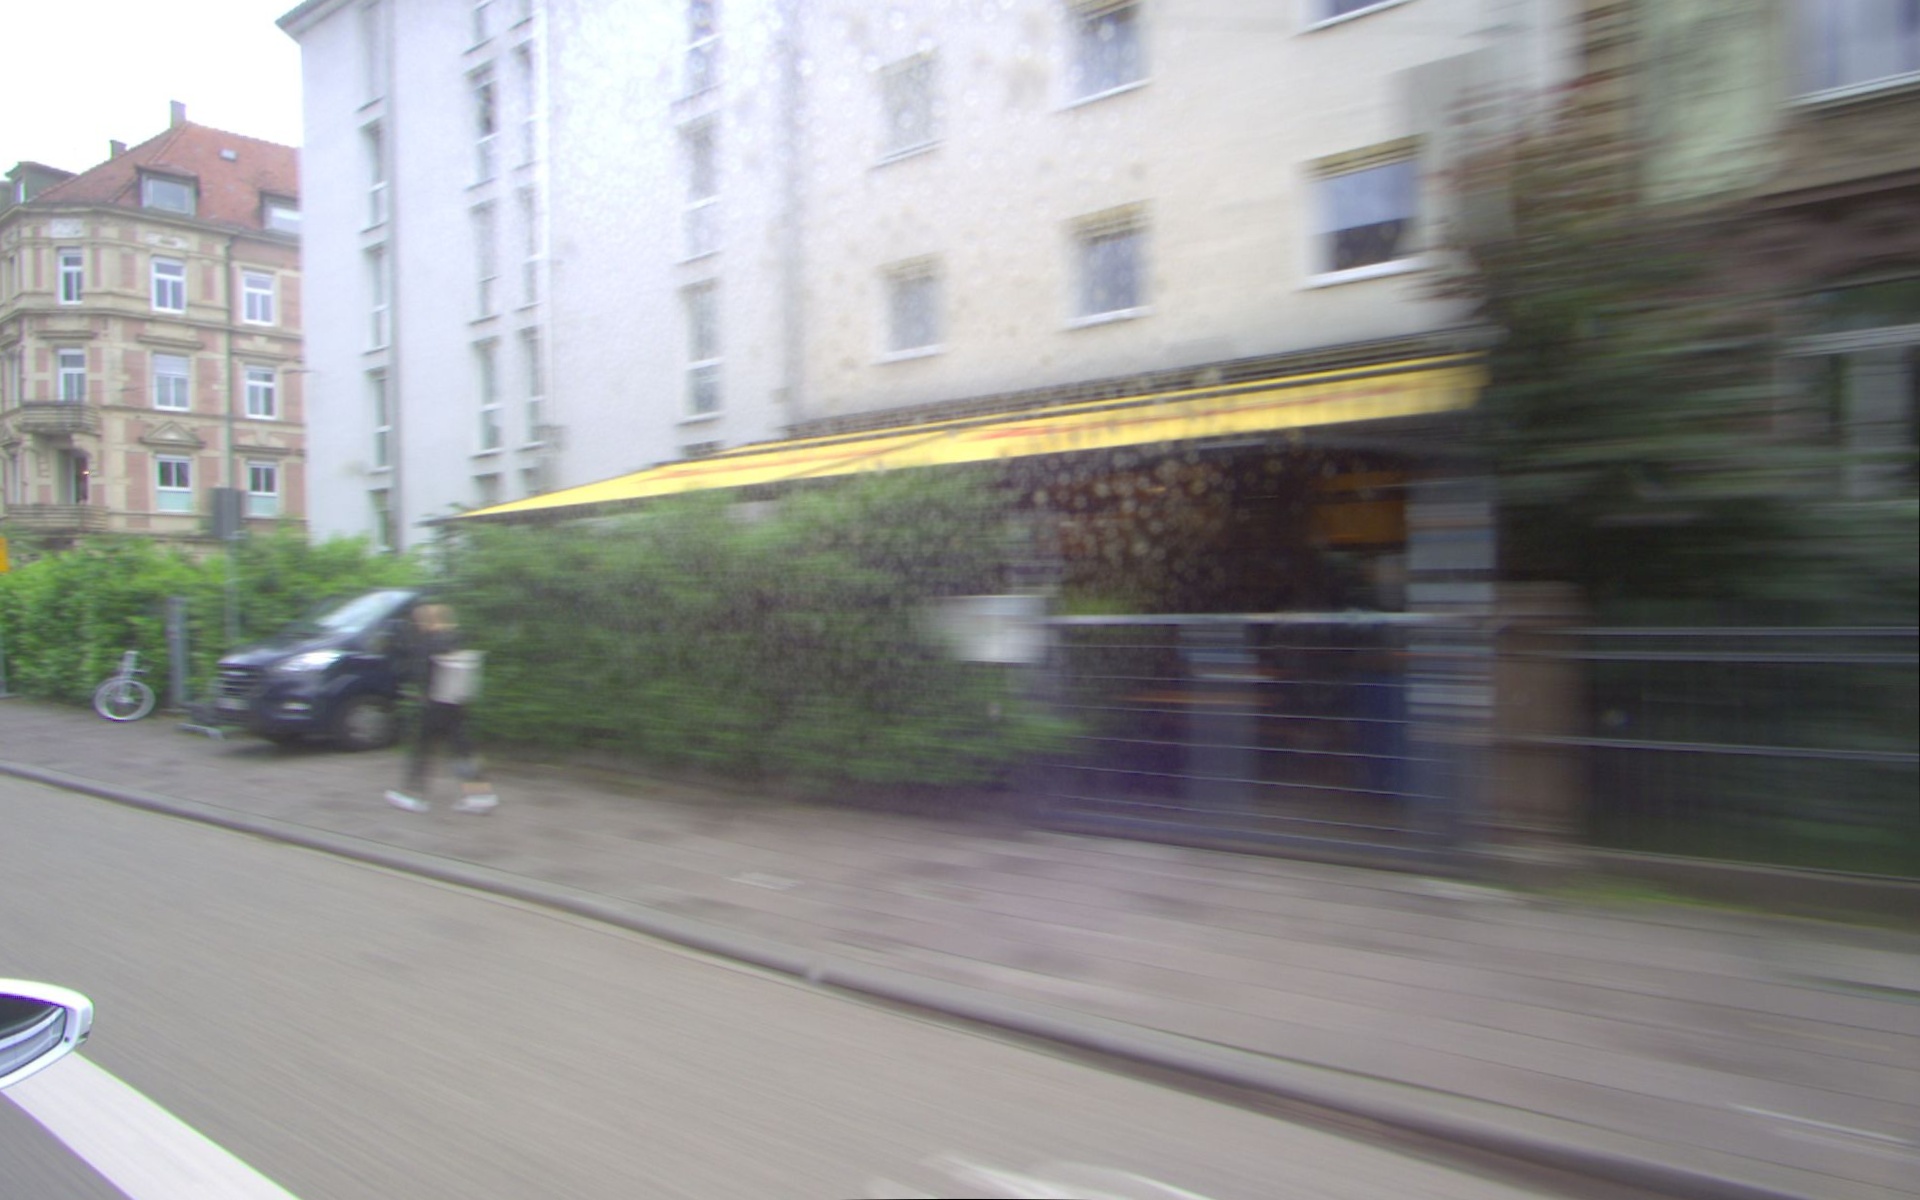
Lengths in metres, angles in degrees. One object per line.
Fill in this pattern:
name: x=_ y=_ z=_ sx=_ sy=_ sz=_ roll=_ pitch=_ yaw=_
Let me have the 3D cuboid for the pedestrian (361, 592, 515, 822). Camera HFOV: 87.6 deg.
pedestrian: x=-4.140 y=0.798 z=7.953 sx=0.946 sy=1.694 sz=0.621 roll=0 pitch=3 yaw=32

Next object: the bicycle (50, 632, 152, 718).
bicycle: x=-12.890 y=1.092 z=15.010 sx=1.786 sy=1.143 sz=0.631 roll=0 pitch=3 yaw=33

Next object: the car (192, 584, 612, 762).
car: x=-6.783 y=0.735 z=12.652 sx=1.798 sy=1.833 sz=4.268 roll=0 pitch=1 yaw=34
